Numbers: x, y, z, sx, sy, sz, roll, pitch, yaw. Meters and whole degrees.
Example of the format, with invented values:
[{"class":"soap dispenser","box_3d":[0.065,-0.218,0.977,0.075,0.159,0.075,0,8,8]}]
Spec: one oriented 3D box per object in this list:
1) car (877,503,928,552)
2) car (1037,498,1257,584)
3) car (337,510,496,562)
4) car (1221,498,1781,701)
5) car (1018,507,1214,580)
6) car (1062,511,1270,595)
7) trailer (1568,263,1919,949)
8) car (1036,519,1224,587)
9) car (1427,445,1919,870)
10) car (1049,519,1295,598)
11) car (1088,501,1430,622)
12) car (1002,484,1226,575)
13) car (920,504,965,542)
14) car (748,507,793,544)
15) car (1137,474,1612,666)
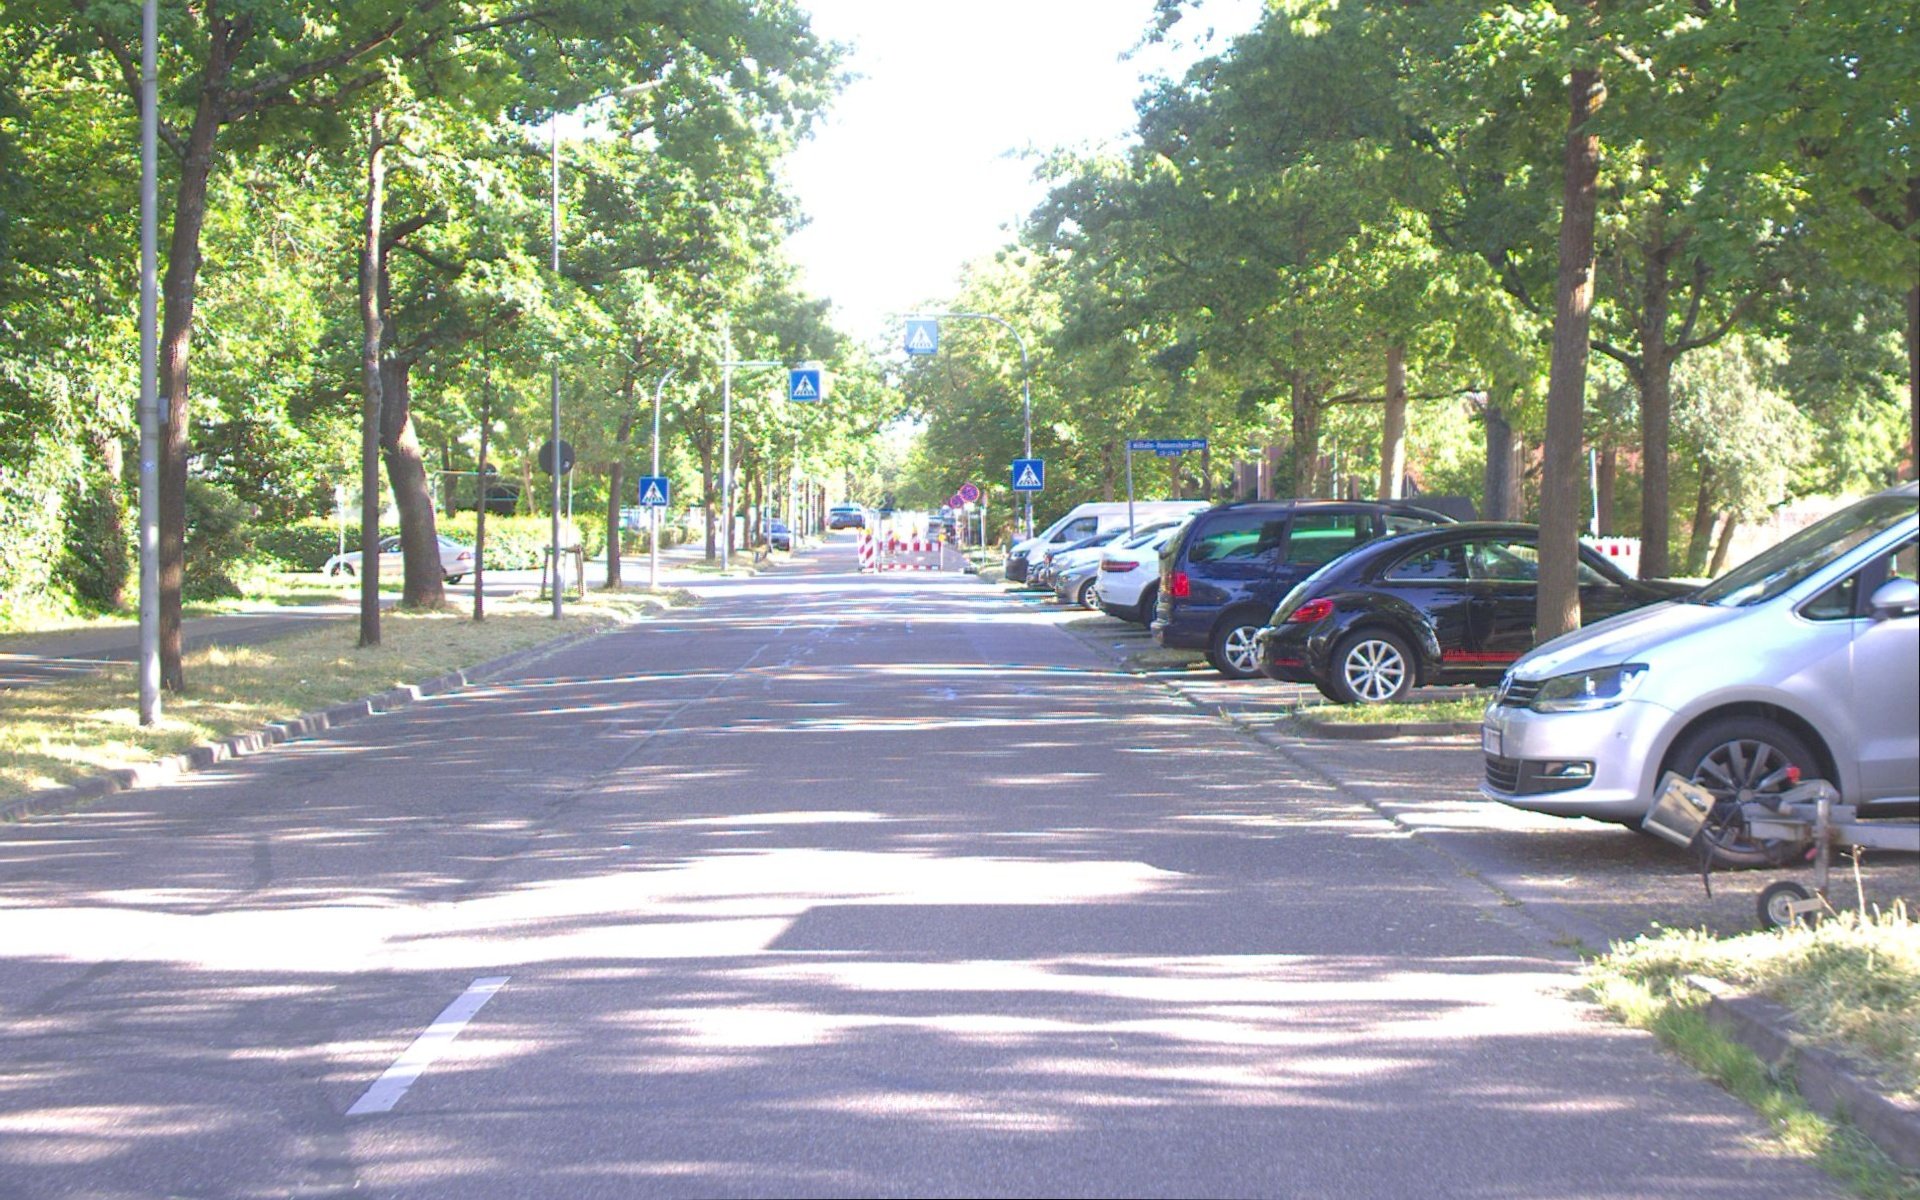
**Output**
[{"class":"car","box_3d":[-2.328,-2.907,137.893,1.993,1.926,4.001,1,1,-1]},{"class":"car","box_3d":[3.887,-1.235,71.857,4.384,1.645,1.851,-2,1,-2]},{"class":"car","box_3d":[-15.416,-1.821,97.593,3.989,1.479,1.999,0,1,13]},{"class":"car","box_3d":[4.341,-0.028,28.128,4.245,1.513,2.078,-1,1,1]},{"class":"car","box_3d":[3.468,-1.270,77.002,4.212,1.563,1.934,1,1,-2]},{"class":"car","box_3d":[3.991,-0.927,67.177,3.884,1.492,1.777,-2,1,-1]},{"class":"trailer","box_3d":[5.269,-0.075,12.494,5.775,2.309,1.686,-2,1,2]},{"class":"car","box_3d":[3.647,-1.022,74.249,3.987,1.428,1.901,0,1,1]},{"class":"car","box_3d":[4.550,0.173,15.269,4.642,1.716,1.988,-2,1,0]},{"class":"car","box_3d":[3.927,-0.790,64.258,4.445,1.385,1.911,-1,1,-1]},{"class":"car","box_3d":[4.217,-0.561,49.012,4.670,1.575,1.917,-2,1,0]},{"class":"car","box_3d":[3.655,-1.680,82.163,5.186,2.098,2.083,0,1,-2]},{"class":"car","box_3d":[-0.818,-3.551,158.889,1.993,1.710,4.001,1,1,-1]},{"class":"car","box_3d":[-9.092,-3.586,164.950,1.993,1.710,4.001,1,1,-1]},{"class":"car","box_3d":[4.130,-0.319,34.773,4.530,1.795,1.936,-1,1,0]}]
